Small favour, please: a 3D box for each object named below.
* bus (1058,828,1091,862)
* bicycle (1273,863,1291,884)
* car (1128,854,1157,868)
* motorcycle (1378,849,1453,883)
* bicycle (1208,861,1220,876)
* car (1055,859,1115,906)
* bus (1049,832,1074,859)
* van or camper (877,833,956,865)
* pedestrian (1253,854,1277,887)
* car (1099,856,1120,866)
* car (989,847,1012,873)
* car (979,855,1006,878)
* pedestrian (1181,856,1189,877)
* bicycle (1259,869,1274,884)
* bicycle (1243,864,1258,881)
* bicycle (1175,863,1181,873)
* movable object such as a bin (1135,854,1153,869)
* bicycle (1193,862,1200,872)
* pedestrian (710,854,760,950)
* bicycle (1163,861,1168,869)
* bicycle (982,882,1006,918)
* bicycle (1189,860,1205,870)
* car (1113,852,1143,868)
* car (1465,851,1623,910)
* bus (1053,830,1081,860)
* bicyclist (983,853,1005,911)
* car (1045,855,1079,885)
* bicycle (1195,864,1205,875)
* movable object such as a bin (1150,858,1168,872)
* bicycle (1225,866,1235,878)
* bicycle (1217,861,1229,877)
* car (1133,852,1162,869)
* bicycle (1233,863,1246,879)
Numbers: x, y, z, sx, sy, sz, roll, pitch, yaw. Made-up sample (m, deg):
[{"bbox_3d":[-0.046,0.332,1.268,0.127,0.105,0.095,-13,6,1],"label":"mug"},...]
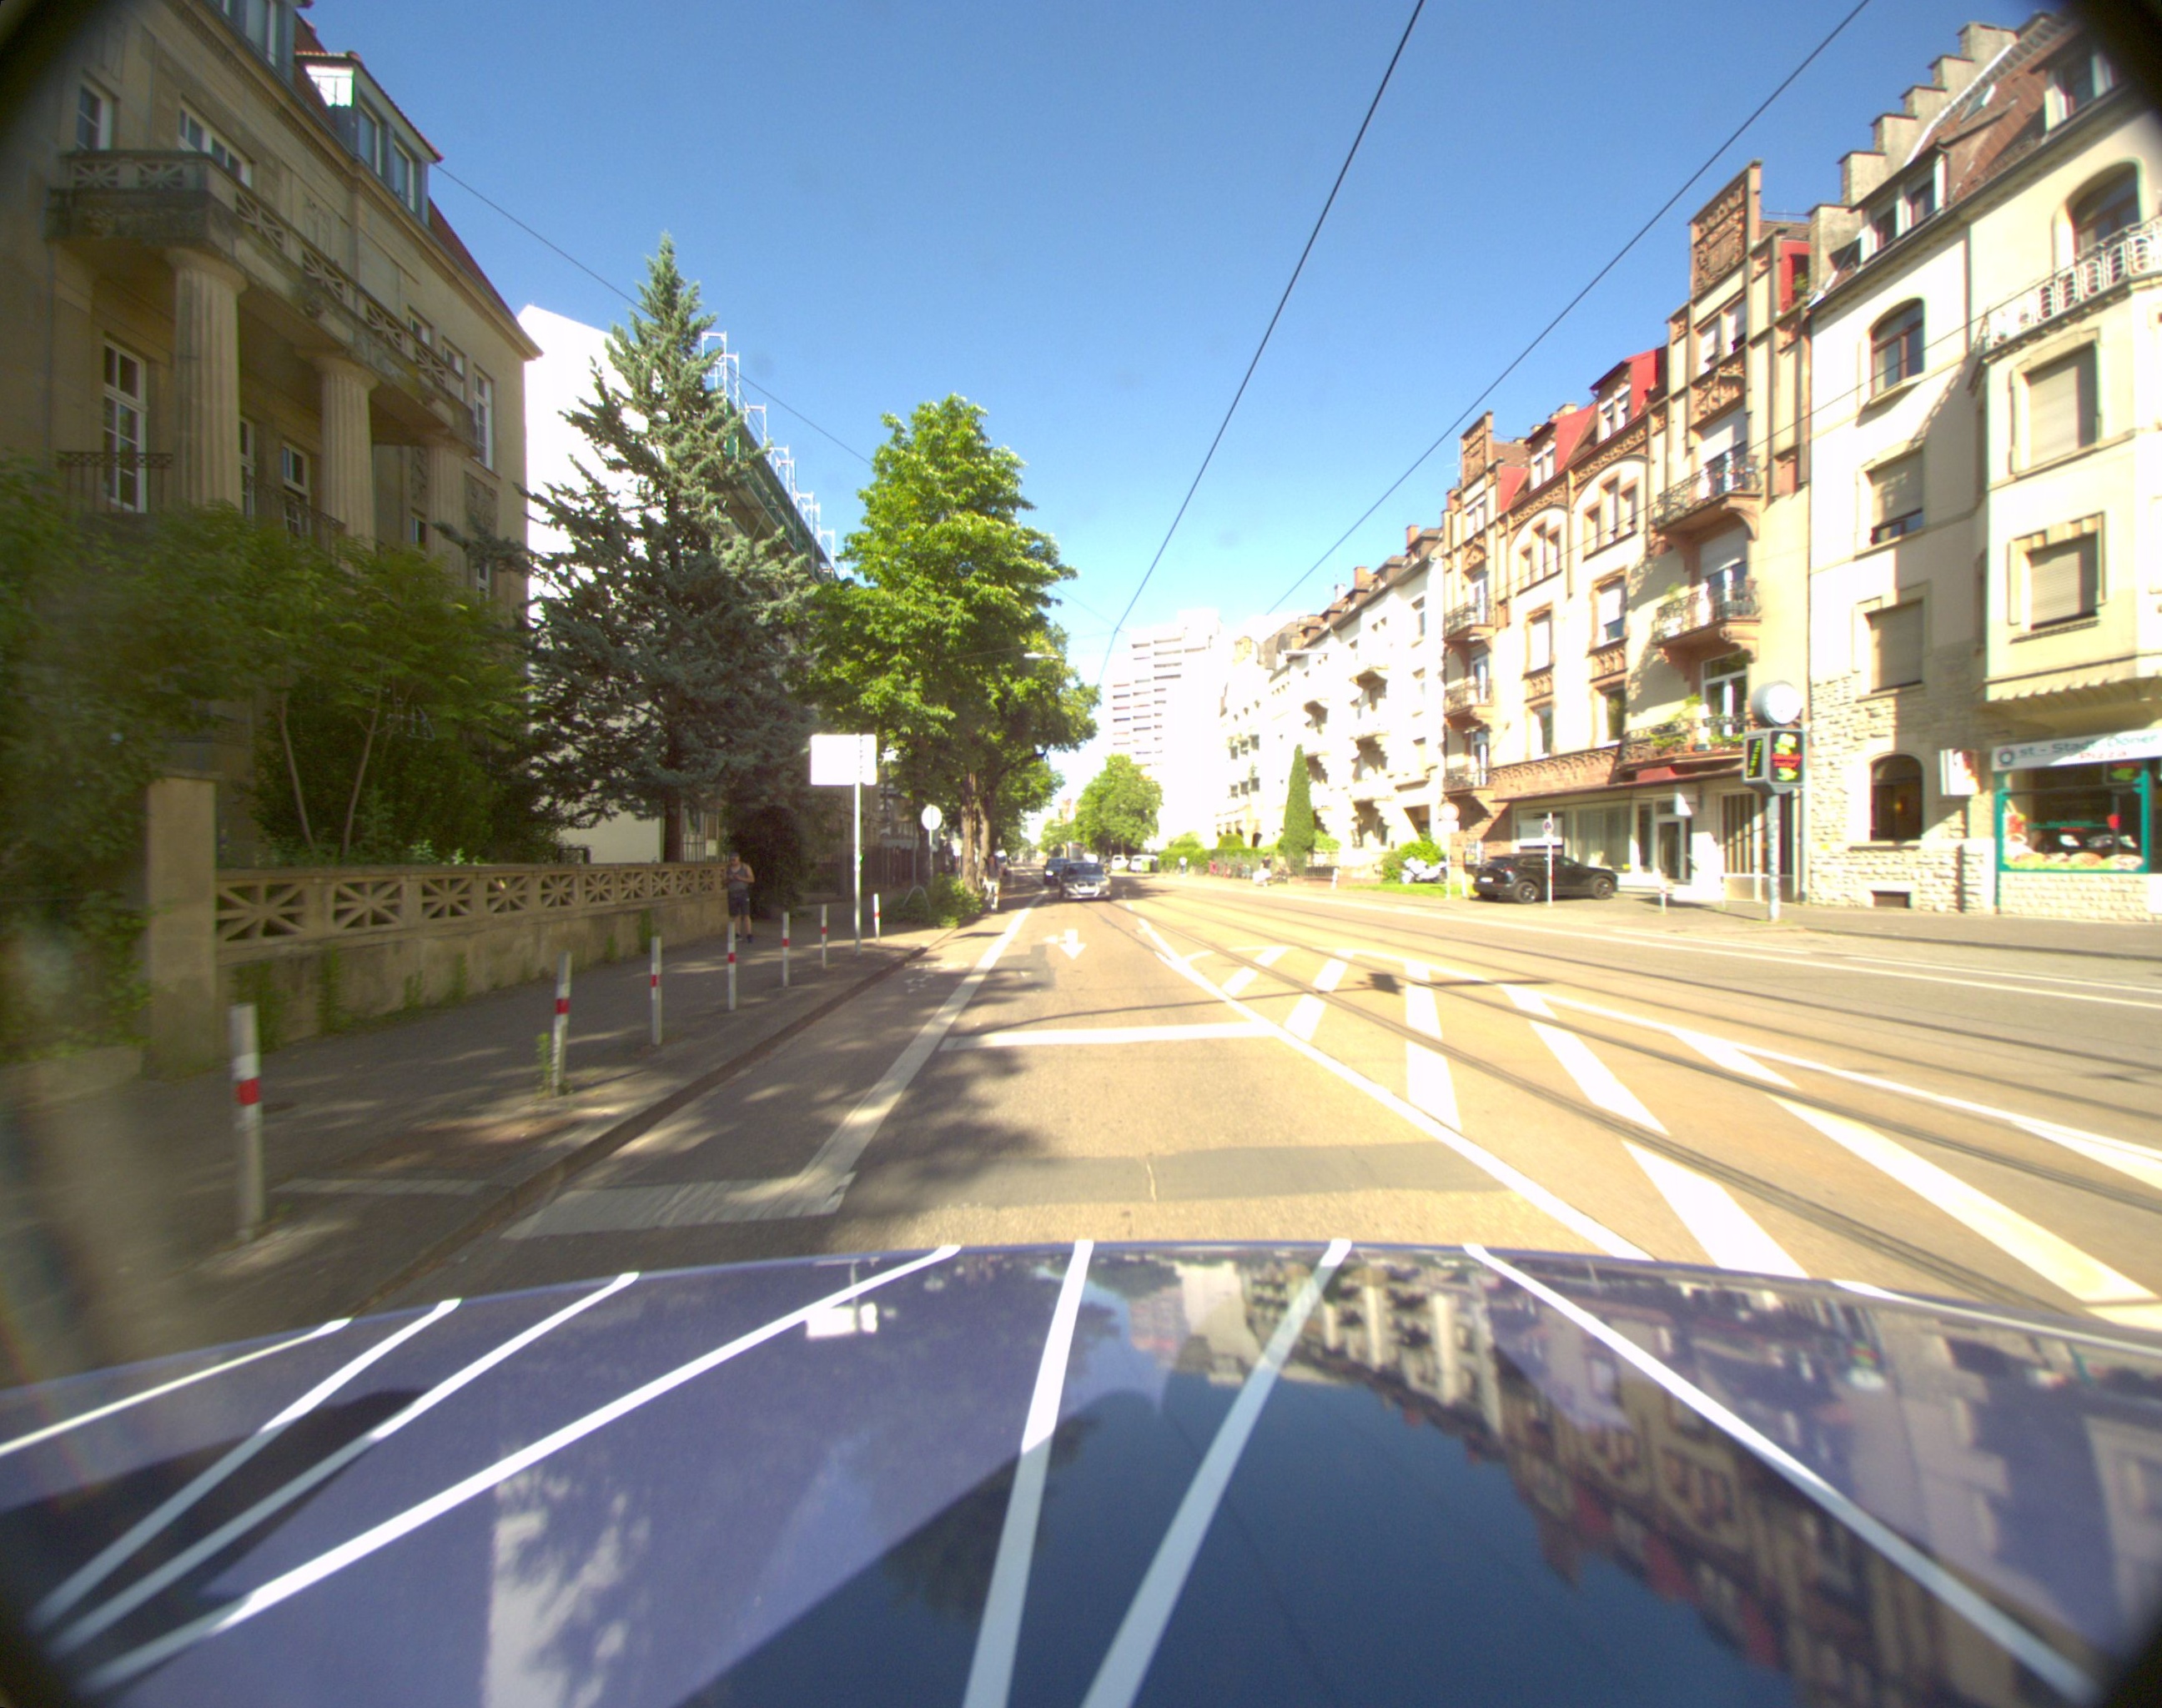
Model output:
[{"bbox_3d":[-0.935,-1.062,90.441,2.858,3.755,12.189,-2,1,-5],"label":"bus"},{"bbox_3d":[10.748,1.032,40.684,0.405,1.033,1.748,-2,1,-3],"label":"bicycle"},{"bbox_3d":[6.754,0.813,83.540,2.758,1.427,1.457,-2,1,-20],"label":"car"},{"bbox_3d":[15.250,0.527,34.663,3.094,1.448,0.823,-2,1,-6],"label":"motorcycle"},{"bbox_3d":[9.454,1.037,54.024,0.405,1.018,1.815,-2,1,-3],"label":"bicycle"},{"bbox_3d":[0.060,0.962,27.136,1.870,1.426,3.998,-2,1,-3],"label":"car"},{"bbox_3d":[-3.043,-1.316,113.368,2.868,3.755,11.490,-2,1,-5],"label":"bus"},{"bbox_3d":[-14.651,-0.420,67.682,6.722,2.612,2.126,-1,1,20],"label":"van or camper"},{"bbox_3d":[9.615,0.860,39.764,0.869,1.619,0.870,-6,1,-3],"label":"pedestrian"},{"bbox_3d":[4.282,1.035,113.695,2.758,1.417,1.225,-2,1,-20],"label":"car"},{"bbox_3d":[-7.843,0.554,73.724,2.133,2.329,5.801,1,1,-6],"label":"car"},{"bbox_3d":[-6.445,0.883,55.764,1.878,1.534,4.363,1,1,-6],"label":"car"},{"bbox_3d":[8.052,0.970,58.863,0.476,1.619,0.659,-2,1,-3],"label":"pedestrian"},{"bbox_3d":[10.402,1.260,42.693,0.318,0.757,1.651,-2,1,-3],"label":"bicycle"},{"bbox_3d":[10.289,1.124,46.204,0.405,0.937,1.748,-2,1,-3],"label":"bicycle"},{"bbox_3d":[8.484,1.226,66.722,0.297,0.757,1.263,-2,1,-3],"label":"bicycle"},{"bbox_3d":[6.353,0.762,77.102,1.513,1.424,2.095,-2,1,-3],"label":"movable object such as a bin"},{"bbox_3d":[9.106,0.996,59.976,0.339,0.757,1.263,-2,1,-3],"label":"bicycle"},{"bbox_3d":[-6.166,0.842,13.567,0.593,1.662,0.646,1,1,-3],"label":"pedestrian"},{"bbox_3d":[7.949,1.030,71.409,0.297,0.757,1.263,-2,1,-3],"label":"bicycle"},{"bbox_3d":[-2.565,1.344,22.529,0.535,0.917,2.056,-2,1,-2],"label":"bicycle"},{"bbox_3d":[9.642,0.949,63.151,1.262,0.789,0.297,-2,1,-3],"label":"bicycle"},{"bbox_3d":[5.805,0.704,93.943,1.917,1.860,3.450,-1,1,42],"label":"car"},{"bbox_3d":[14.482,0.788,23.851,4.000,1.494,1.770,-4,2,-10],"label":"car"},{"bbox_3d":[-1.993,-1.192,102.103,2.868,3.755,11.176,-2,1,-5],"label":"bus"},{"bbox_3d":[-2.564,0.809,22.505,0.532,1.660,0.878,-2,1,-2],"label":"bicyclist"},{"bbox_3d":[-1.135,0.871,43.686,1.829,1.559,3.998,-2,1,-3],"label":"car"},{"bbox_3d":[9.138,1.191,58.476,0.405,0.757,1.581,-2,1,-3],"label":"bicycle"},{"bbox_3d":[8.009,1.089,78.185,1.501,1.309,2.095,-2,1,-3],"label":"movable object such as a bin"},{"bbox_3d":[9.795,1.165,49.981,0.318,0.757,1.542,-2,1,-3],"label":"bicycle"},{"bbox_3d":[9.647,1.041,51.725,0.405,1.018,1.815,-2,1,-3],"label":"bicycle"},{"bbox_3d":[7.030,0.695,80.557,1.456,1.763,3.194,-1,-2,41],"label":"car"},{"bbox_3d":[10.063,1.093,48.203,0.405,0.937,1.648,-2,1,-3],"label":"bicycle"}]
